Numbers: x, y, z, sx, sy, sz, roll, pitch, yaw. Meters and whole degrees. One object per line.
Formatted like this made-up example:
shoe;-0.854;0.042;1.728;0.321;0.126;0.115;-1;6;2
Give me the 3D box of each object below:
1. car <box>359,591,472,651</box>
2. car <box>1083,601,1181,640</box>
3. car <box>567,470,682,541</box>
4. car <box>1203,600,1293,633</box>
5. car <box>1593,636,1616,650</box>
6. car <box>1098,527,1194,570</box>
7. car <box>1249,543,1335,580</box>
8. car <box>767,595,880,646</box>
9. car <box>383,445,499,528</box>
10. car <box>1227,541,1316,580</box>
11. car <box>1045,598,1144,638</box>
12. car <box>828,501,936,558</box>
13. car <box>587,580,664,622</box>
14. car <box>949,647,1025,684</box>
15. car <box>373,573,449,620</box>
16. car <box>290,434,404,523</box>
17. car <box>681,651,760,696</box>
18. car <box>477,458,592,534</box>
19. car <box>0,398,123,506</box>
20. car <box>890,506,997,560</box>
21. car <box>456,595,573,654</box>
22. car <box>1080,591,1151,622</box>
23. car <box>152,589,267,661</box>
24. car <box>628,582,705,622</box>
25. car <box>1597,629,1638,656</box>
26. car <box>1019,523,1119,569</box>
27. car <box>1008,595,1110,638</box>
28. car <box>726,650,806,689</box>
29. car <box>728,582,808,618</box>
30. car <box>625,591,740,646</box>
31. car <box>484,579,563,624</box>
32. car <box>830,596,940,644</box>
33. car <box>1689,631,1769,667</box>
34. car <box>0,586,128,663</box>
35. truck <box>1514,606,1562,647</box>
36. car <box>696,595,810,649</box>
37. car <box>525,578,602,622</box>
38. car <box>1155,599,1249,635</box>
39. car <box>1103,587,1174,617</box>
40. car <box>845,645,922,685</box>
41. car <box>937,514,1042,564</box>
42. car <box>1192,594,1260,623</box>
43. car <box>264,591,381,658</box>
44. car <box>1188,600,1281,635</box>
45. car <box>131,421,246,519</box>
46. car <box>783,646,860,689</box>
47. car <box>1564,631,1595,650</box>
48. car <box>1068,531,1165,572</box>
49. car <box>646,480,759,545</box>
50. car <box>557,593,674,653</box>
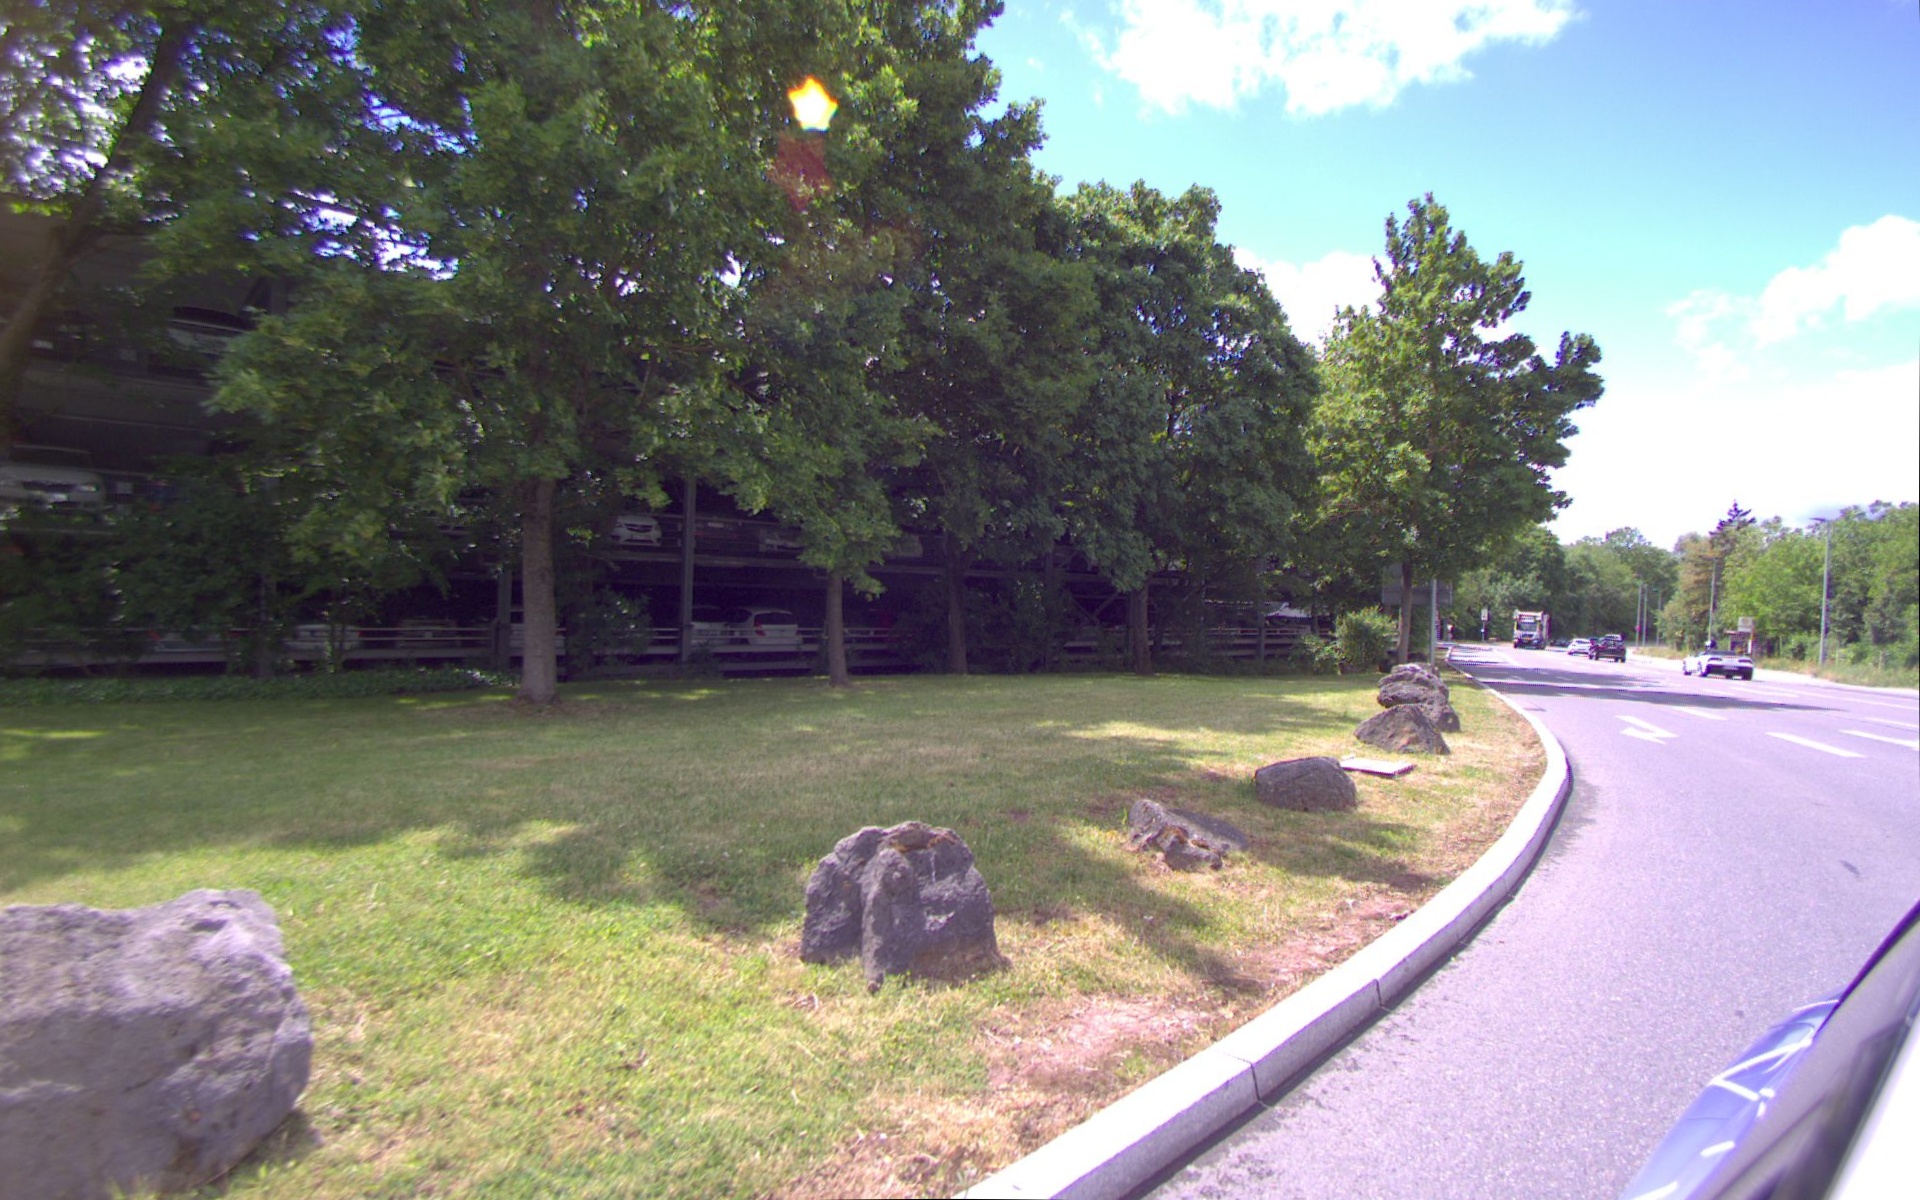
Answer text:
car;-13.554;0.485;25.096;1.745;1.308;3.794;2;0;-40
car;7.086;0.835;42.004;1.665;1.410;3.853;2;0;-40
car;-9.179;-2.508;27.524;1.696;1.561;3.700;4;-1;-39
car;13.762;0.782;48.449;1.665;1.410;3.853;2;0;-40
car;81.120;5.414;127.357;1.821;1.577;4.561;4;0;39
car;7.657;-2.081;41.835;1.629;1.582;3.700;4;-1;-39
car;16.345;-1.885;49.942;1.629;1.662;3.700;4;-1;-39
car;-4.330;0.606;31.660;1.745;1.410;3.794;2;0;-40
car;-12.497;-2.643;24.272;1.696;1.561;3.700;4;-1;-39
car;14.757;-1.855;48.106;1.629;1.640;3.700;4;-1;-39
car;5.397;0.711;41.066;1.665;1.410;3.853;2;0;-39
car;-2.613;-2.273;33.411;1.696;1.640;3.700;4;-1;-39
car;-13.037;0.033;39.322;1.566;1.388;3.780;2;2;-40
car;1.302;3.250;50.854;1.665;1.464;3.854;2;2;-40
car;-18.764;-0.150;34.525;1.566;1.388;3.780;2;2;-40
car;-14.099;-2.703;23.191;1.696;1.561;3.700;4;-1;-39
car;-9.863;2.986;41.484;1.610;1.388;3.780;2;2;-40
car;-11.015;-2.614;26.063;1.696;1.561;3.700;4;-1;-39
car;-17.613;-2.803;19.852;1.696;1.561;3.700;4;-1;-39
car;-0.620;-2.260;34.914;1.696;1.640;3.700;4;-1;-39
car;-11.433;0.585;25.863;1.745;1.308;3.794;2;0;-40
car;8.830;0.339;57.717;1.665;1.504;3.854;2;2;-40
car;-16.061;0.490;21.584;1.745;1.308;3.794;2;0;-40
car;-11.896;0.050;40.901;1.566;1.388;3.780;2;2;-40
car;46.385;2.992;71.447;1.809;1.675;4.491;3;0;26
car;4.214;-2.063;39.537;1.696;1.561;3.700;4;-1;-39
car;3.807;0.630;39.311;1.665;1.508;3.853;2;0;-40
car;-8.351;2.952;43.417;1.745;1.349;3.794;2;0;-40
car;-8.277;-0.012;43.491;1.745;1.410;3.794;2;0;-40
car;-7.985;0.498;28.952;1.745;1.410;3.794;2;0;-40
car;-15.648;0.038;36.164;1.566;1.388;3.780;2;2;-40
car;-2.536;0.646;33.695;1.745;1.410;3.794;2;0;-40
car;33.877;2.130;44.716;1.892;1.307;4.566;3;1;26
car;-17.692;0.442;20.111;1.745;1.308;3.794;2;0;-40
truck;61.200;2.748;107.059;3.224;3.907;9.746;4;2;35
car;-6.256;0.637;30.301;1.745;1.410;3.794;2;0;-40
car;-14.848;-0.025;37.804;1.566;1.388;3.780;2;2;-40
car;10.760;0.737;45.227;1.665;1.410;3.853;2;0;-40
car;10.463;0.087;59.473;1.722;1.504;3.854;2;2;-40
car;-3.644;3.054;47.856;1.665;1.464;3.854;2;2;-40
car;1.023;-2.148;36.315;1.696;1.561;3.700;4;-1;-39
car;17.279;0.534;65.839;1.737;1.570;3.934;2;2;-38
car;-14.540;0.515;22.995;1.745;1.308;3.794;2;0;-40
car;12.593;0.788;46.530;1.665;1.410;3.853;2;0;-40
car;-16.148;-2.621;21.162;1.696;1.561;3.700;4;-1;-39
car;-6.234;2.983;45.302;1.610;1.464;3.780;2;2;-40
car;53.465;3.479;87.390;1.753;1.460;3.867;3;1;24
car;6.248;-1.914;40.722;1.629;1.449;3.700;4;-1;-39
car;-7.513;-2.468;29.330;1.696;1.561;3.700;4;-1;-39
car;-9.405;0.583;27.466;1.745;1.410;3.794;2;0;-40
